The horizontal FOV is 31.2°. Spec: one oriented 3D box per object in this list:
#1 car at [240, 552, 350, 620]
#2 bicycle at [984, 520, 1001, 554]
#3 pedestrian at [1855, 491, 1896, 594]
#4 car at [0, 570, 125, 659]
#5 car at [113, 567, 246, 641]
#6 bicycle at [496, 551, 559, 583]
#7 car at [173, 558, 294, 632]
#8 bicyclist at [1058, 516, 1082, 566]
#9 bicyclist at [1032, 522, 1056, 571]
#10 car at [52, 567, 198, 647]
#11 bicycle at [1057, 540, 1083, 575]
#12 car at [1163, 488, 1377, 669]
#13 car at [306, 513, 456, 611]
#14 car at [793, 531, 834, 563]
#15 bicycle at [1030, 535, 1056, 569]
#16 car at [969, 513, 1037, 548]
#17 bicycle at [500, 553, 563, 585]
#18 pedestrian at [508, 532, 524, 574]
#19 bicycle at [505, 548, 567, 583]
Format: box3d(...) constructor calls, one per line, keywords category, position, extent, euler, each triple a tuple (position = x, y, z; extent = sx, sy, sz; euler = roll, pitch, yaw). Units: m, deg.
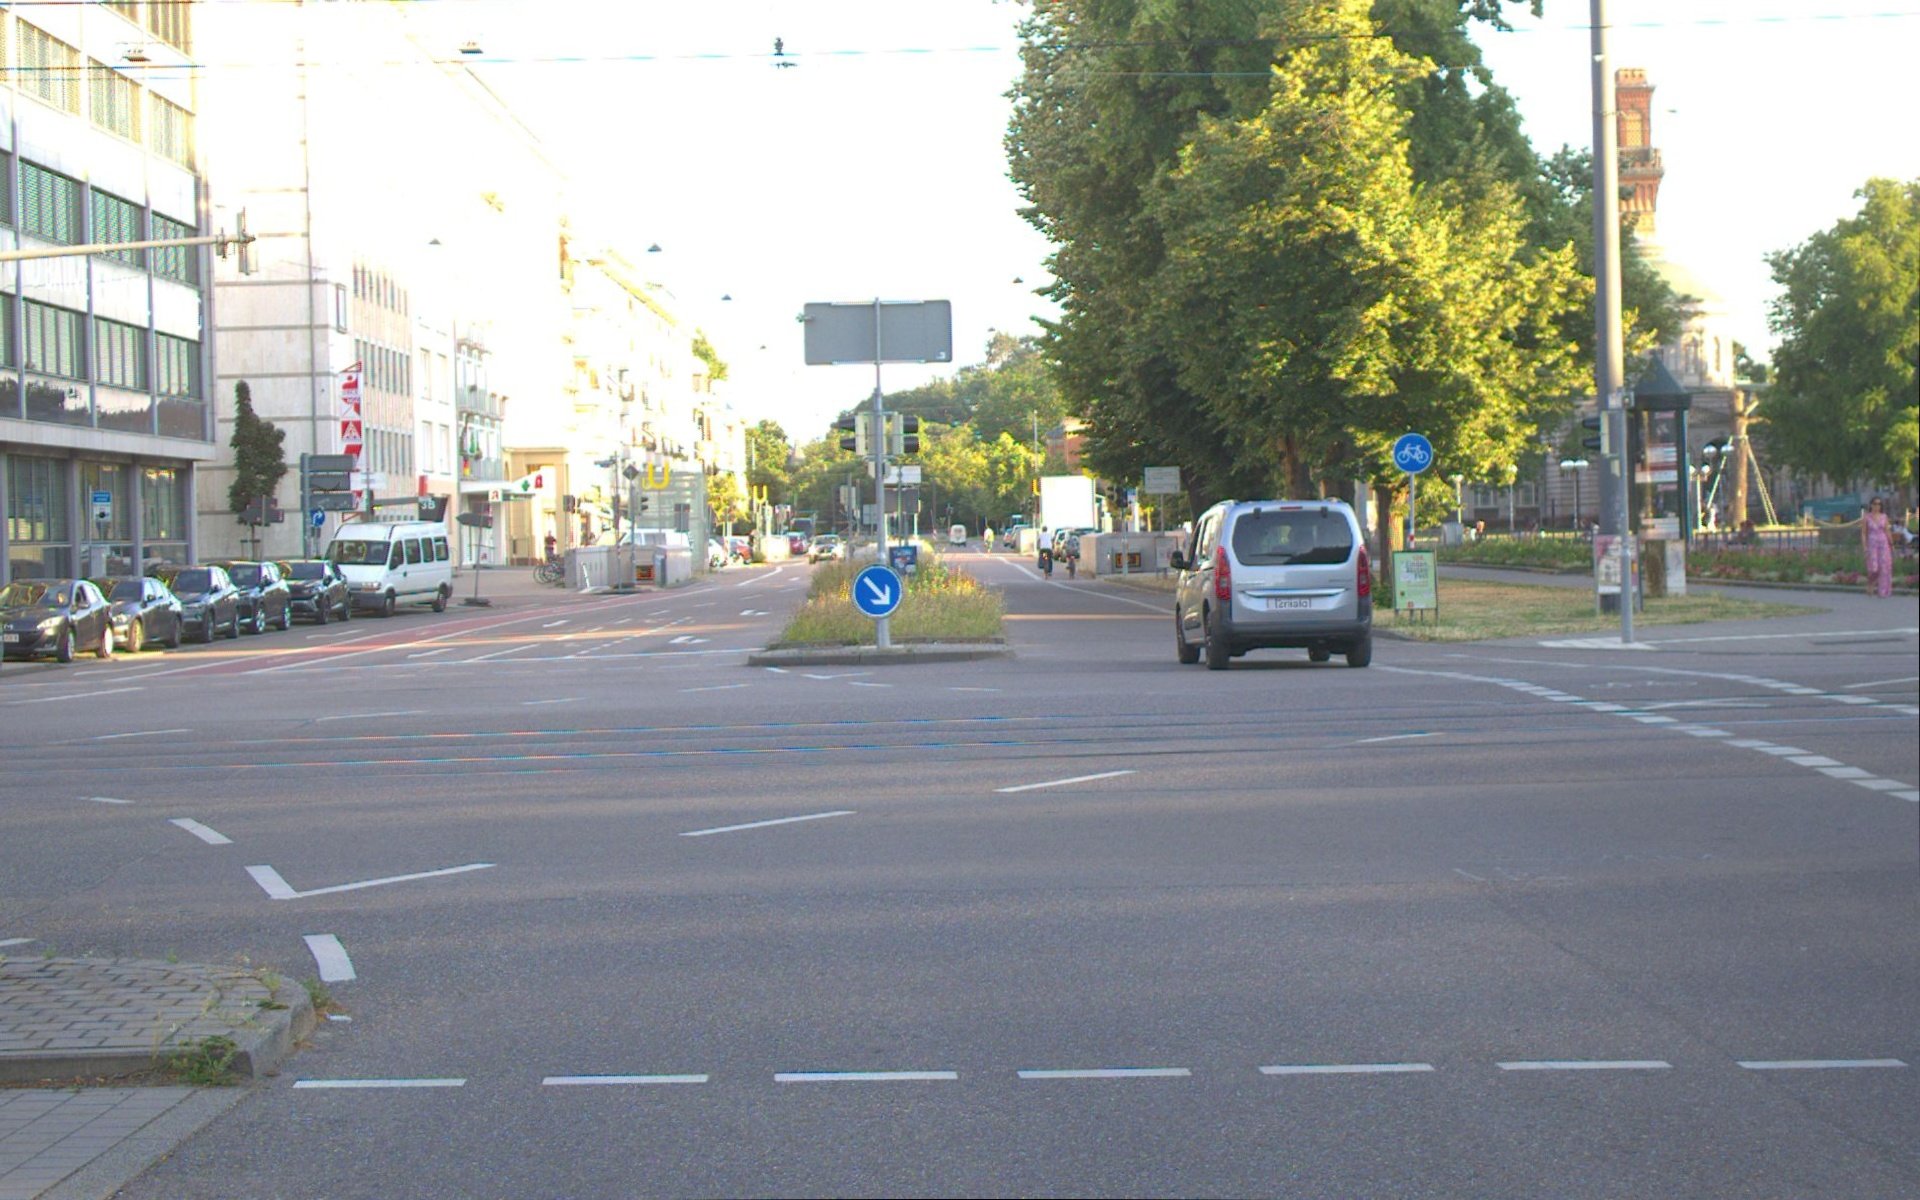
box3d(category="car", position=(-16.363, -0.373, 84.775), extent=(1.920, 1.563, 4.000), euler=(-2, 1, -1))
box3d(category="bicycle", position=(1.976, -3.879, 211.334), extent=(0.895, 2.007, 4.000), euler=(-1, 1, -1))
box3d(category="pedestrian", position=(14.832, -0.934, 55.699), extent=(0.460, 1.651, 0.567), euler=(-1, 1, -1))
box3d(category="car", position=(-16.489, 0.242, 61.919), extent=(1.920, 1.459, 4.103), euler=(-2, 1, -1))
box3d(category="car", position=(-16.583, 0.063, 73.247), extent=(1.920, 1.459, 4.000), euler=(-2, 1, -1))
box3d(category="bicycle", position=(-15.776, -1.205, 125.333), extent=(2.205, 1.108, 0.619), euler=(-2, 1, -2))
box3d(category="car", position=(-16.561, -0.140, 78.549), extent=(1.920, 1.563, 4.000), euler=(-2, 1, -1))
box3d(category="bicyclist", position=(3.755, -2.007, 117.487), extent=(0.746, 1.685, 0.799), euler=(-2, 1, -1))
box3d(category="bicyclist", position=(2.849, -1.821, 117.270), extent=(0.746, 1.658, 0.873), euler=(-2, 1, -1))
box3d(category="car", position=(-16.579, 0.111, 68.432), extent=(1.920, 1.459, 4.000), euler=(-2, 1, -1))
box3d(category="bicycle", position=(3.771, -1.465, 117.650), extent=(0.746, 1.140, 2.505), euler=(-2, 1, -1))
box3d(category="car", position=(3.453, -0.273, 39.018), extent=(1.763, 1.882, 4.500), euler=(-2, 1, -3))
box3d(category="car", position=(-15.304, -1.042, 91.225), extent=(2.002, 2.469, 5.865), euler=(-1, 1, 10))
box3d(category="car", position=(-7.415, -2.697, 174.343), extent=(1.863, 1.514, 4.000), euler=(-2, 1, 1))
box3d(category="bicycle", position=(2.840, -1.639, 117.670), extent=(0.746, 1.140, 2.505), euler=(-2, 1, -1))
box3d(category="car", position=(2.650, -4.297, 212.660), extent=(3.986, 2.007, 2.000), euler=(-2, 1, -4))
box3d(category="bicycle", position=(-15.829, -1.149, 127.012), extent=(2.205, 1.108, 0.689), euler=(-2, 1, -2))
box3d(category="pedestrian", position=(-21.297, -2.271, 164.865), extent=(0.680, 2.007, 0.545), euler=(-2, 1, 0))
box3d(category="bicycle", position=(-15.907, -1.287, 128.880), extent=(2.205, 1.232, 0.839), euler=(-2, 1, -2))
